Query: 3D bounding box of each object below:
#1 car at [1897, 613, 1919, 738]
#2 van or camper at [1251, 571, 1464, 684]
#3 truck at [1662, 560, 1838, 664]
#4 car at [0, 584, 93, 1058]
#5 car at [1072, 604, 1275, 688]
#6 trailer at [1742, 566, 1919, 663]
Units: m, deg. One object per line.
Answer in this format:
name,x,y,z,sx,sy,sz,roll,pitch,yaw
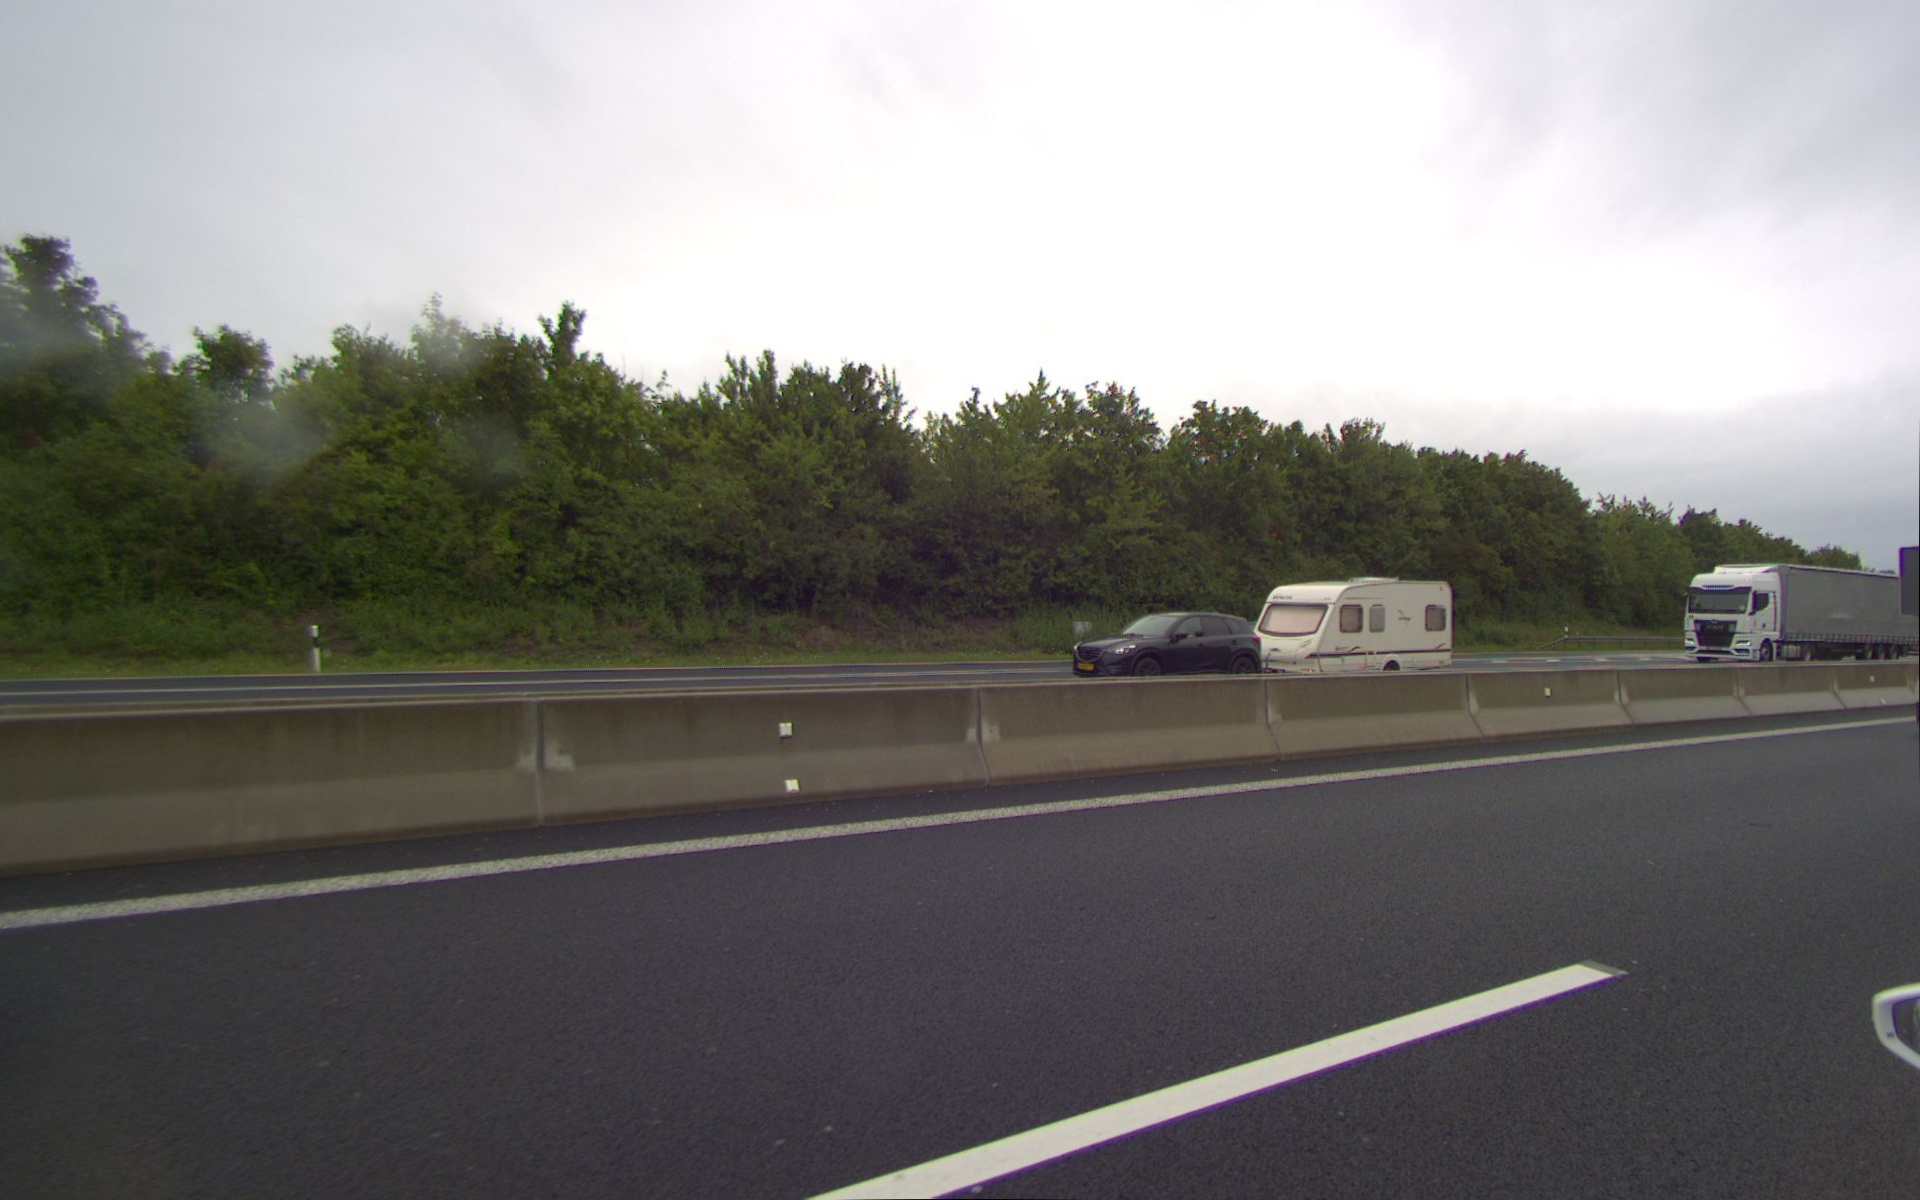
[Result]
car,15.051,1.060,13.869,4.449,1.661,1.966,2,-1,-31
van or camper,9.692,0.662,24.355,5.481,2.502,1.787,1,-1,-30
truck,33.945,0.571,43.130,7.347,4.138,3.247,1,-1,-28
car,-5.171,0.661,2.077,4.795,1.517,1.891,1,-1,-31
car,4.560,0.936,21.207,4.338,1.642,1.520,1,-1,-31
trailer,42.546,0.758,47.720,13.670,4.138,3.247,1,-1,-28
